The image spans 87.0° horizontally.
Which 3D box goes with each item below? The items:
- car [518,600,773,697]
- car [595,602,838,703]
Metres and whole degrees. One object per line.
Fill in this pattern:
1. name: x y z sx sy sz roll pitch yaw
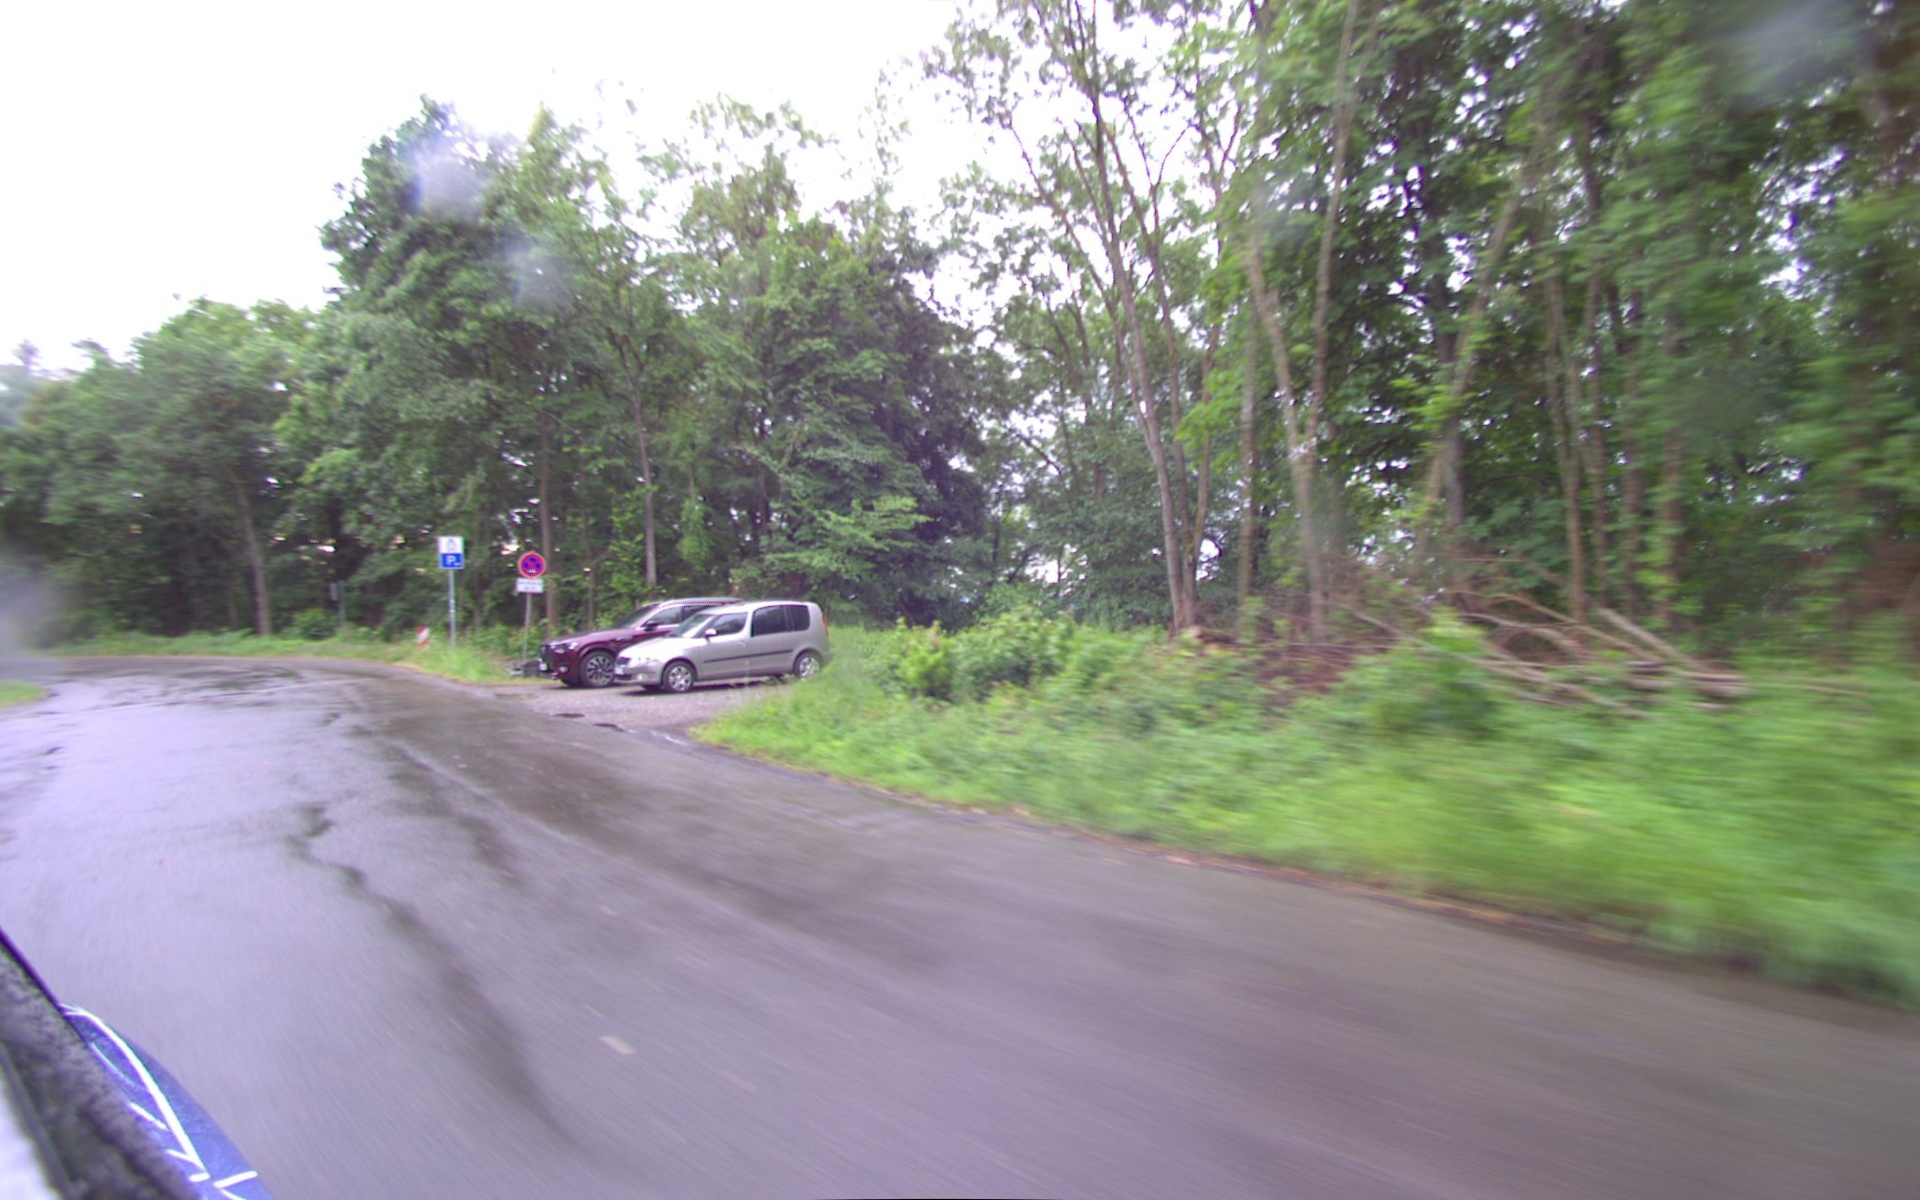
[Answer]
1. car: -6.597 0.959 21.470 4.762 1.690 1.880 -3 -1 -37
2. car: -4.586 0.935 19.279 4.081 1.566 1.778 -3 -1 -35
